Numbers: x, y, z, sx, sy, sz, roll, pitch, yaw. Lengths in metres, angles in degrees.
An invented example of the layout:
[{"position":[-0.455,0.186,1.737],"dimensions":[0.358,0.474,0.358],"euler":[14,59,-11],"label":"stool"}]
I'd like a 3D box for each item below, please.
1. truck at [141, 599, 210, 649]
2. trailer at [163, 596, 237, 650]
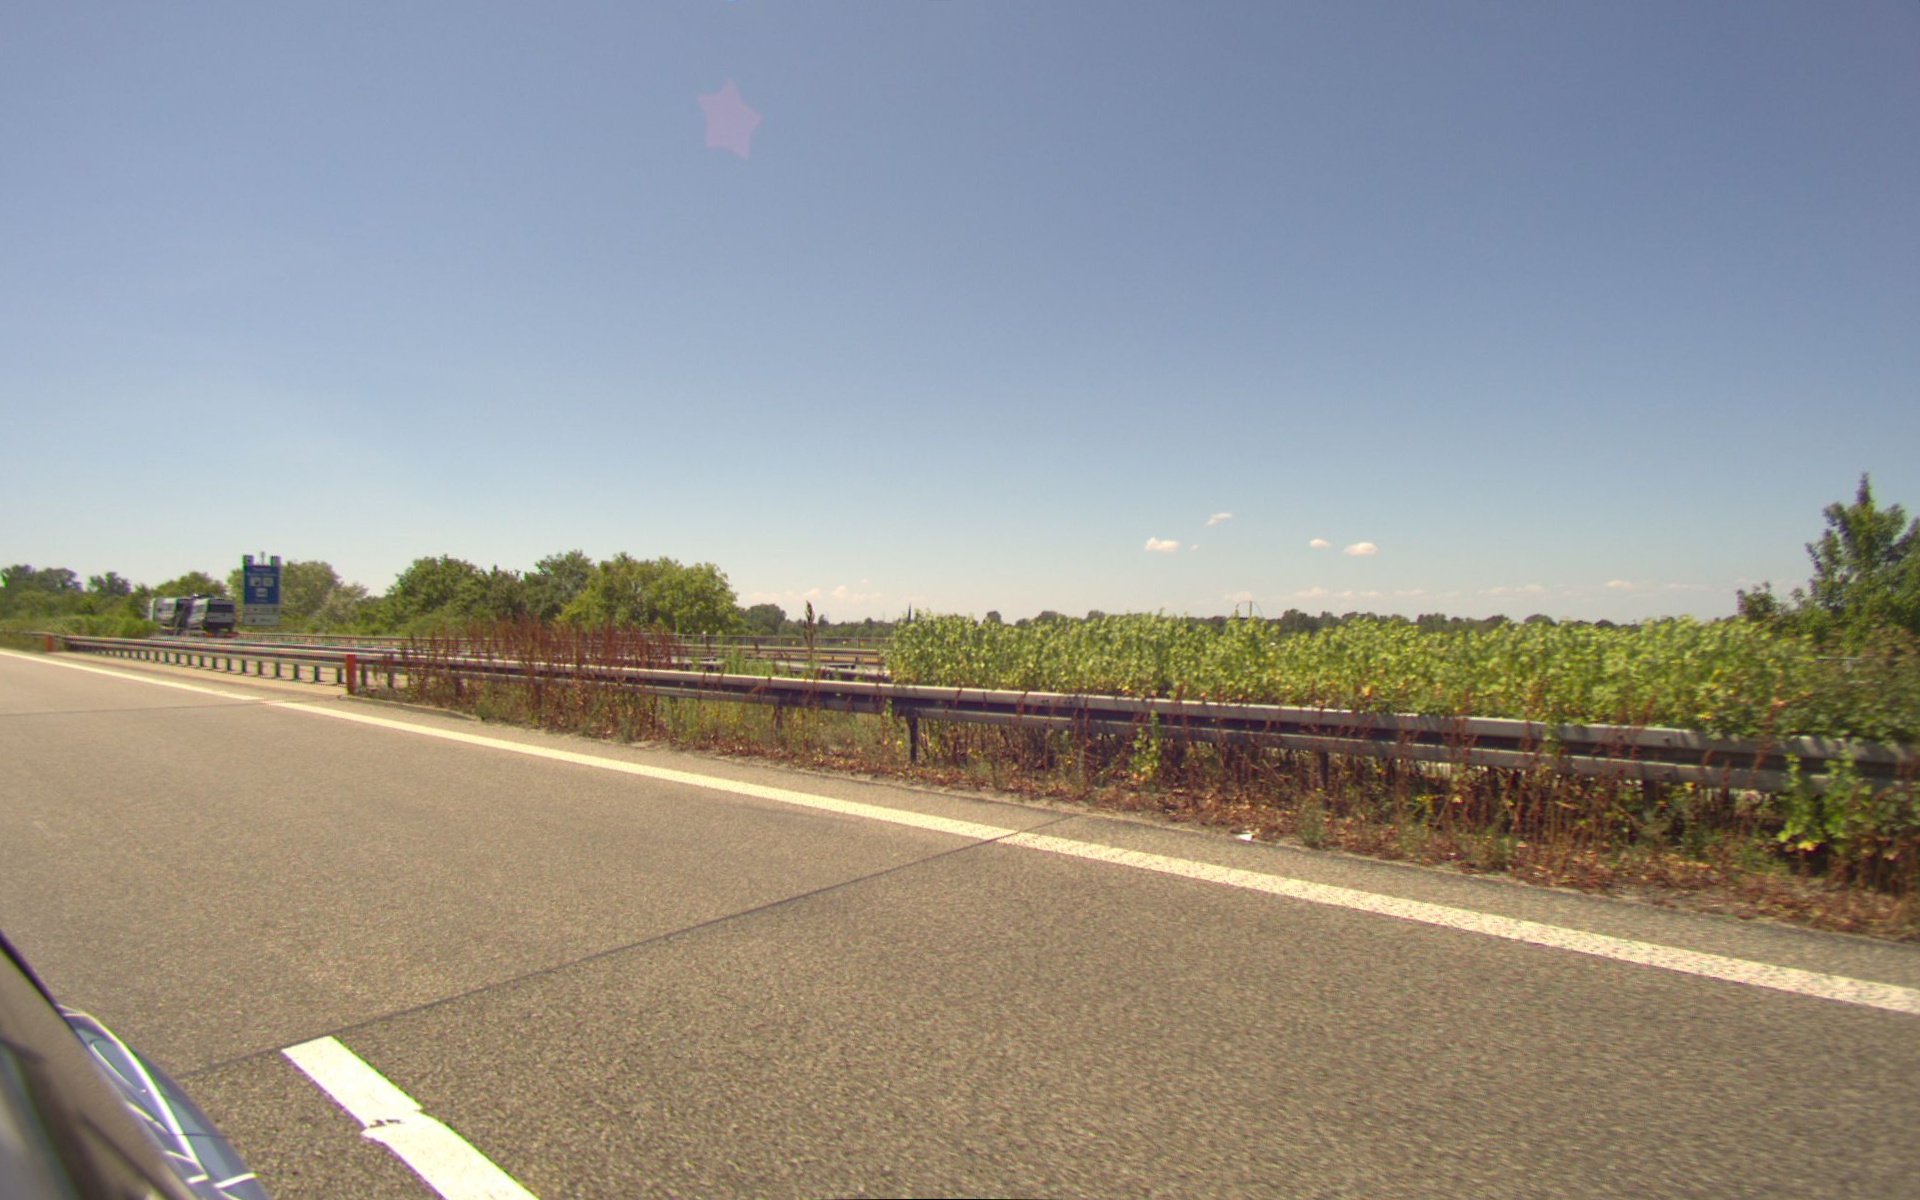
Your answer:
[{"position":[-66.837,2.043,86.142],"dimensions":[9.619,4.021,2.887],"euler":[-2,-1,42],"label":"truck"},{"position":[-60.380,1.853,80.285],"dimensions":[9.656,4.021,2.894],"euler":[-2,-1,42],"label":"trailer"}]
